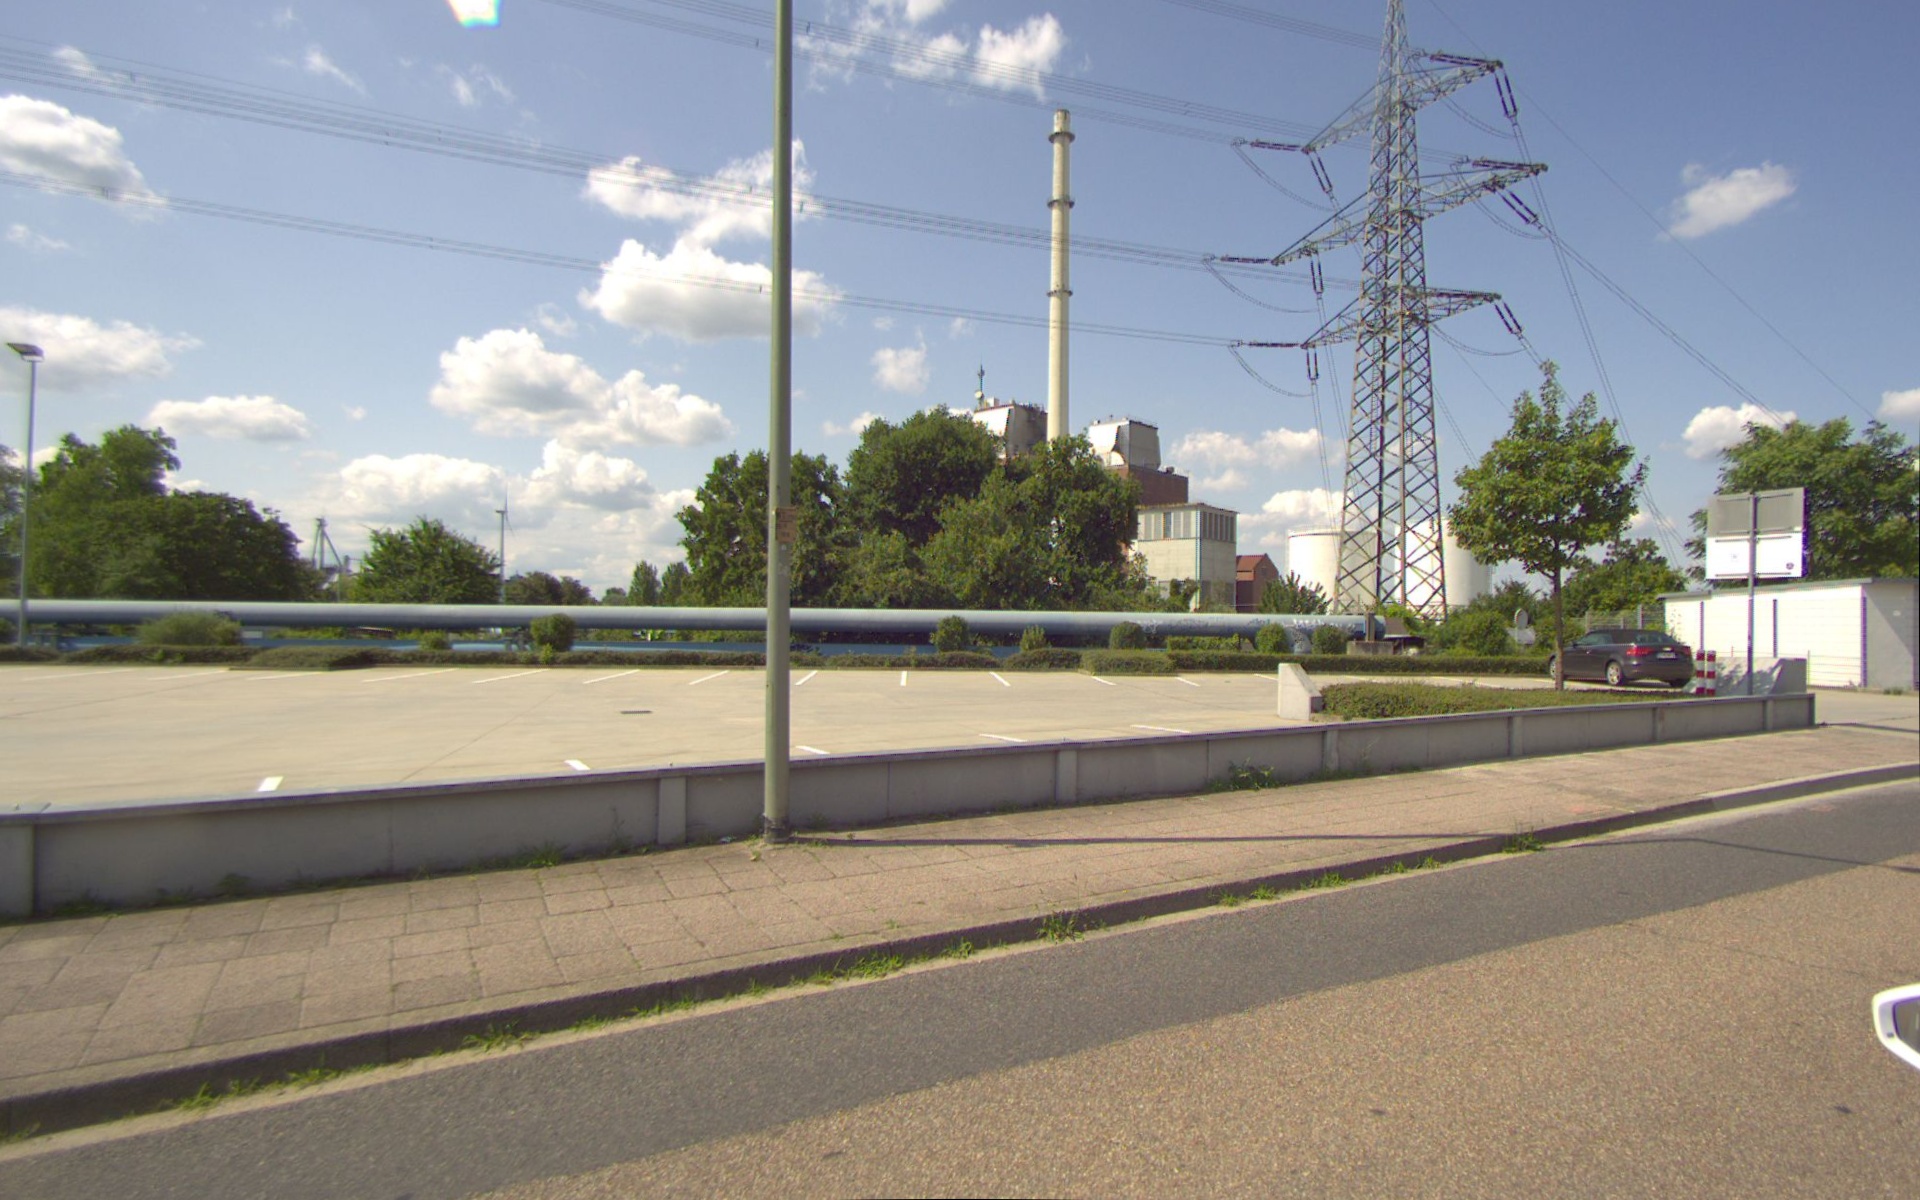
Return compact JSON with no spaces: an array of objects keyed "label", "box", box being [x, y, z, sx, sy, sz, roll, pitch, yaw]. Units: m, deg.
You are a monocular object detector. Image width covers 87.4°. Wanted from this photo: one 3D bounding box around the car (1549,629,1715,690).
[{"label":"car","box":[16.934,1.444,25.573,1.767,1.396,4.002,0,-1,4]}]
